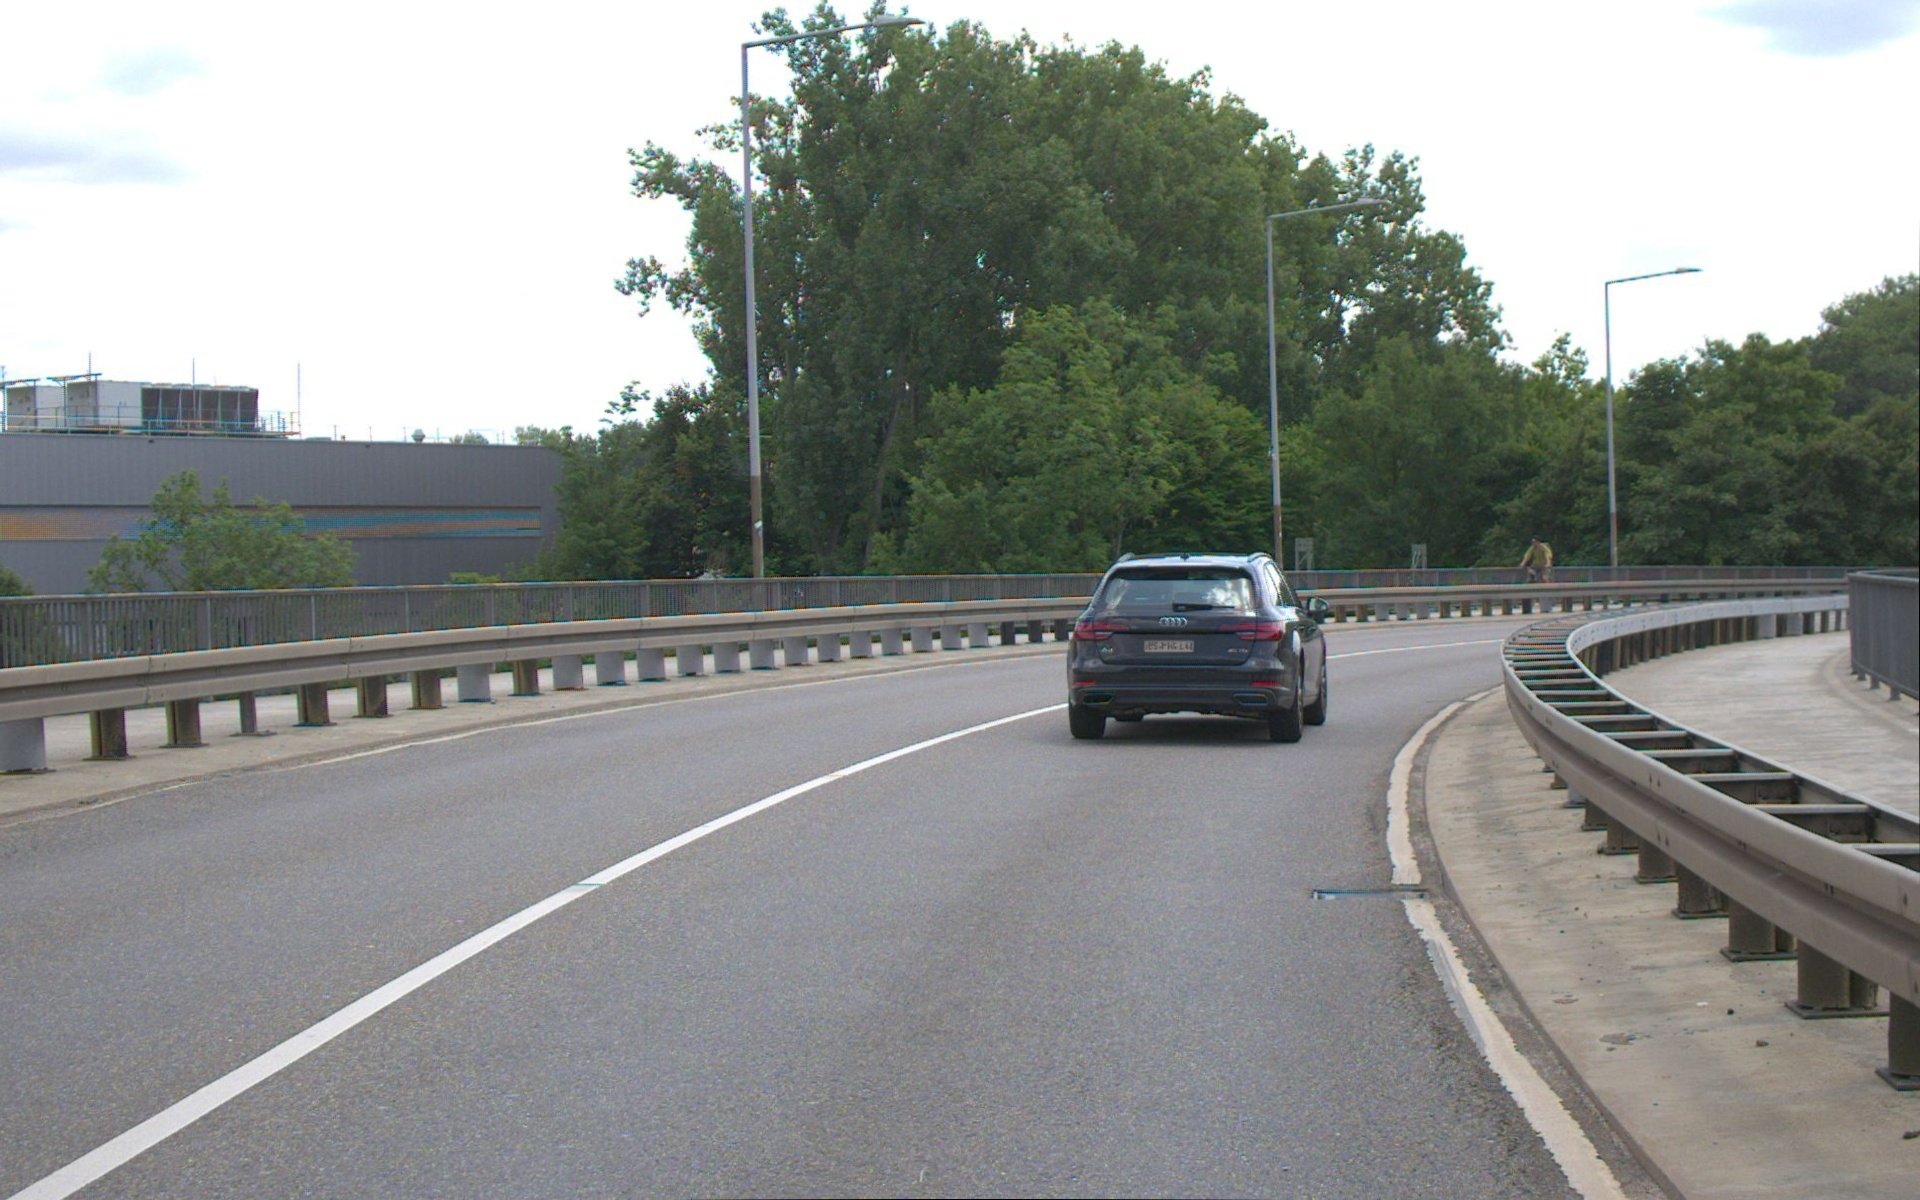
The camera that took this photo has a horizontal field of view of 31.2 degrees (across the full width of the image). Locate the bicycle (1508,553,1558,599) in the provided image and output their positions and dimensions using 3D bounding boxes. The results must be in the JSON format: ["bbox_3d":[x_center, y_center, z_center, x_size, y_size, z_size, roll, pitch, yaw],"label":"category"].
[{"bbox_3d":[13.912,-0.582,83.473,0.769,1.091,2.113,0,0,21],"label":"bicycle"}]

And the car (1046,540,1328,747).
[{"bbox_3d":[1.887,0.293,27.396,1.828,1.486,4.205,1,1,9],"label":"car"}]

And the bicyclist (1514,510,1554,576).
[{"bbox_3d":[13.958,-1.381,83.595,0.768,1.597,0.946,0,0,21],"label":"bicyclist"}]
